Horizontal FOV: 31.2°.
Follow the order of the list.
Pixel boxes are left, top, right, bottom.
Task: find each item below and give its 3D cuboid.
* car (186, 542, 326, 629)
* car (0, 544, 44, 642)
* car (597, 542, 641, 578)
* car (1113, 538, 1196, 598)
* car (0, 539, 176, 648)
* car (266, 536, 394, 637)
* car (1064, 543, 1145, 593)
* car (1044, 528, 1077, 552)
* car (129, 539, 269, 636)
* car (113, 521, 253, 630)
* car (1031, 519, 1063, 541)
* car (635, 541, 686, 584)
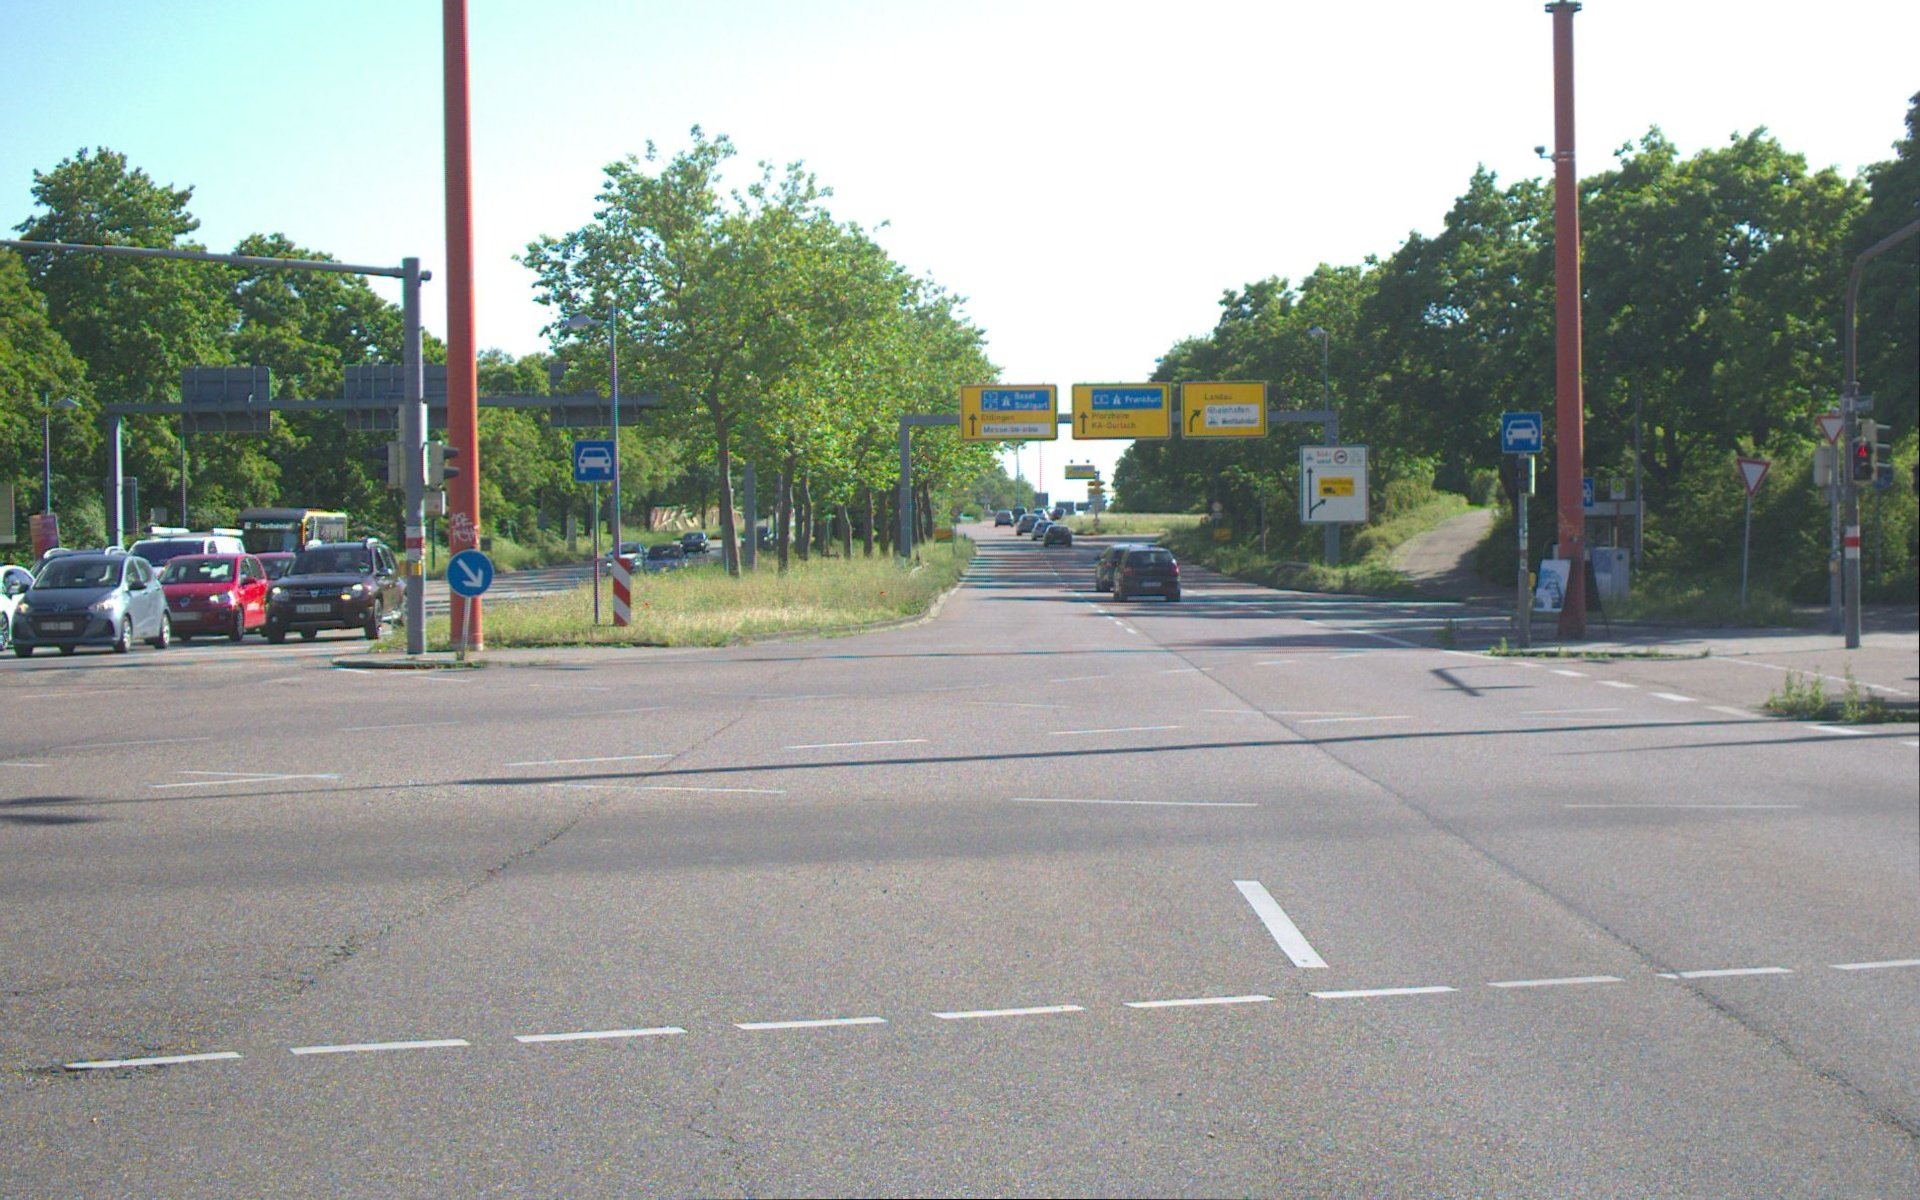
[{"bbox_3d":[-13.119,-0.295,64.240,1.993,1.568,4.121,-1,1,-4],"label":"car"},{"bbox_3d":[-16.491,-0.117,57.029,1.993,1.568,4.122,-2,1,-8],"label":"car"},{"bbox_3d":[-15.402,-1.805,155.299,1.876,1.568,4.121,-1,1,-5],"label":"car"},{"bbox_3d":[5.223,-0.877,92.798,2.159,1.568,4.281,-1,1,2],"label":"car"},{"bbox_3d":[-13.255,-0.131,52.160,1.993,1.568,4.121,-1,1,-3],"label":"car"},{"bbox_3d":[-10.250,-0.244,56.141,1.876,1.568,4.122,-1,1,-8],"label":"car"},{"bbox_3d":[4.656,-1.067,111.638,2.158,1.568,4.583,-1,1,-3],"label":"car"},{"bbox_3d":[6.632,-3.954,227.052,2.159,1.568,4.281,-1,1,1],"label":"car"},{"bbox_3d":[-12.901,-0.235,58.461,1.993,1.568,4.122,-1,1,-8],"label":"car"},{"bbox_3d":[-16.118,-0.528,71.501,2.062,2.185,4.379,-1,1,-2],"label":"car"},{"bbox_3d":[6.392,-5.174,253.189,2.159,1.568,4.281,-1,1,-2],"label":"car"},{"bbox_3d":[-11.333,-1.431,130.282,1.876,1.568,4.121,-1,1,-5],"label":"car"}]
